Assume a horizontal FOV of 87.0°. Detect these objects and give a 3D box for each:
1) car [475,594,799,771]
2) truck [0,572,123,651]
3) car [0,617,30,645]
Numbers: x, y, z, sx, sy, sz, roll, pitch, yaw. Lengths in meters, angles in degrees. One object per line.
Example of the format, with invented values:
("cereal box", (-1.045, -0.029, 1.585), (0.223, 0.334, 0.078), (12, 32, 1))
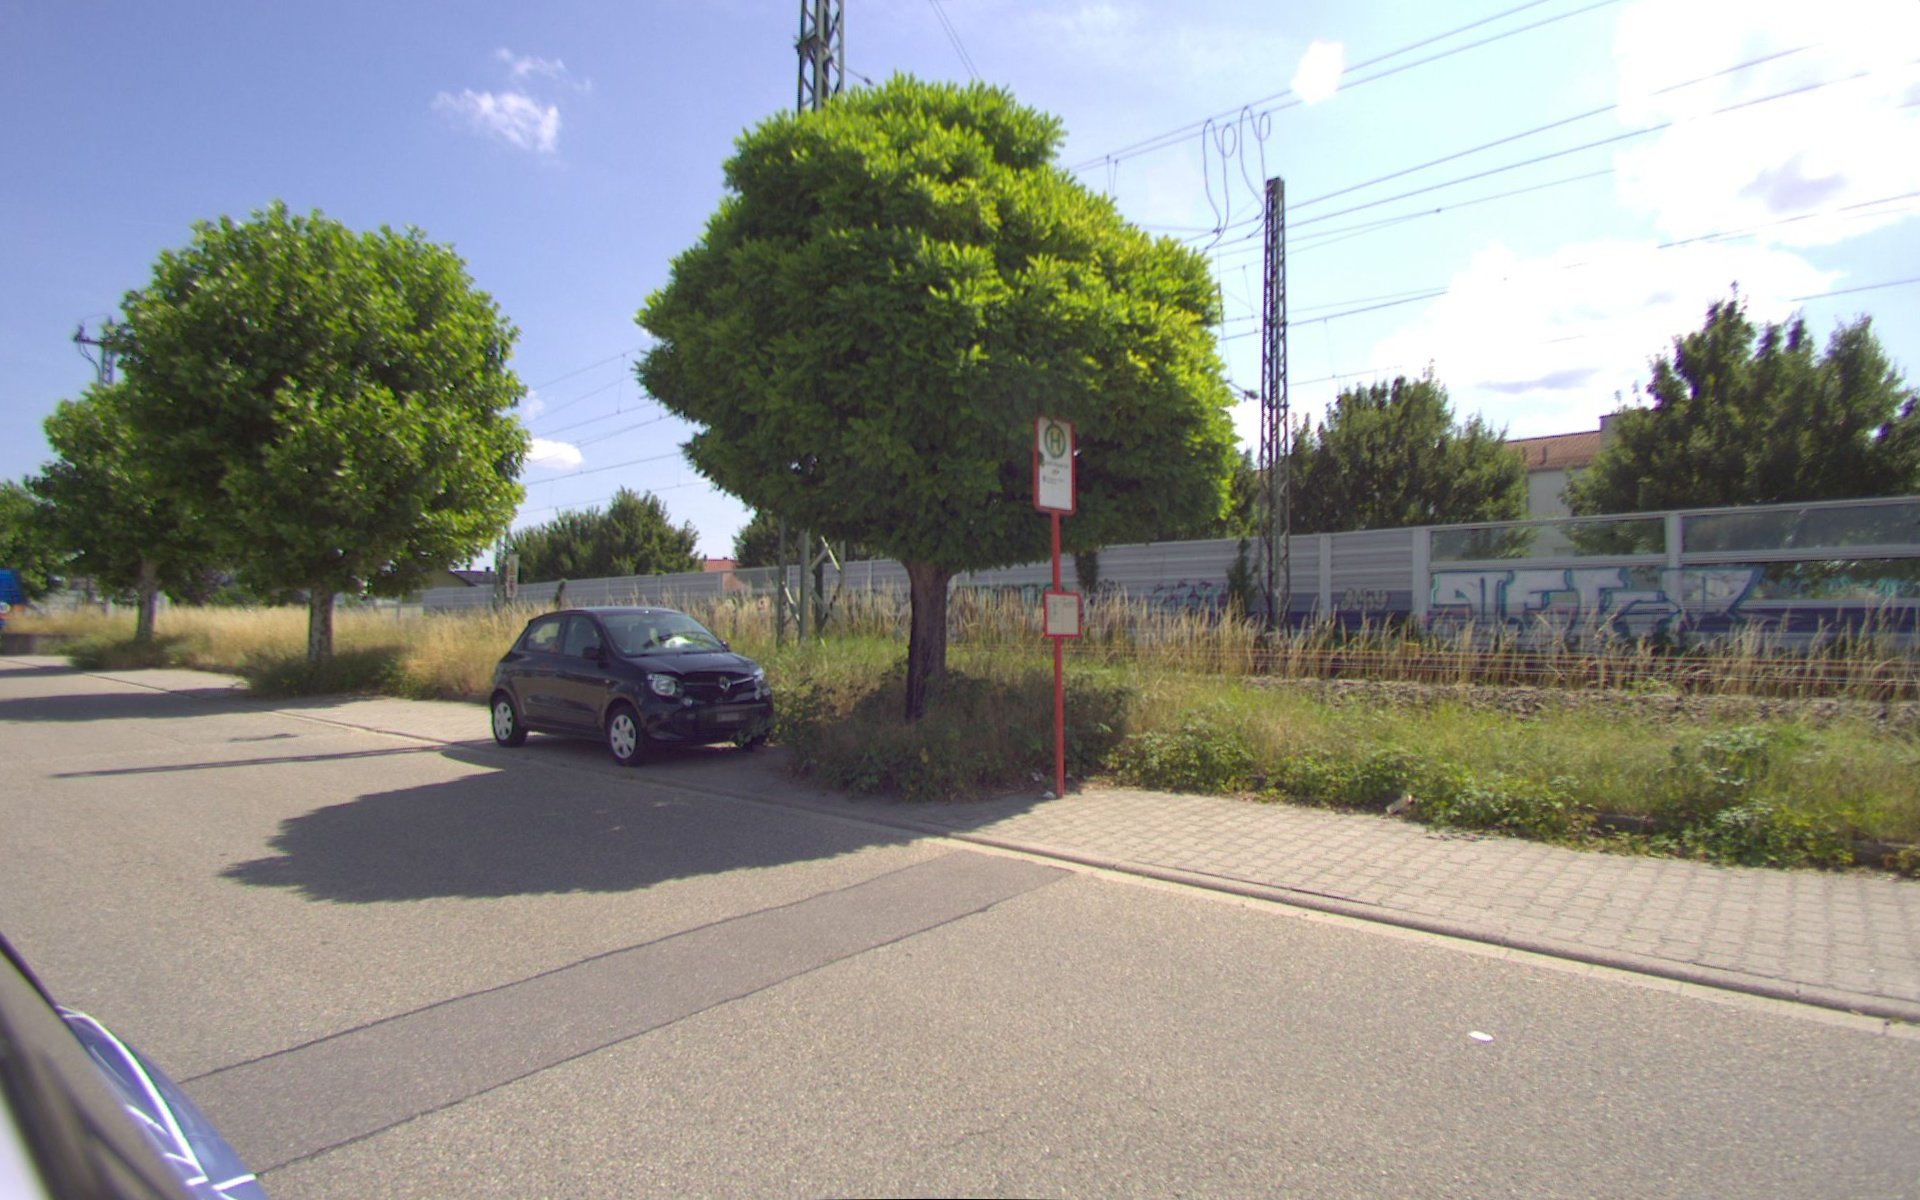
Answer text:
("car", (-3.593, 0.787, 11.019), (3.576, 1.608, 1.724), (-1, -2, 40))
("truck", (-46.855, 0.626, 51.139), (2.659, 3.852, 6.552), (-1, -3, 37))
("car", (-56.601, 1.796, 58.496), (1.847, 1.630, 3.934), (-1, -2, 36))
